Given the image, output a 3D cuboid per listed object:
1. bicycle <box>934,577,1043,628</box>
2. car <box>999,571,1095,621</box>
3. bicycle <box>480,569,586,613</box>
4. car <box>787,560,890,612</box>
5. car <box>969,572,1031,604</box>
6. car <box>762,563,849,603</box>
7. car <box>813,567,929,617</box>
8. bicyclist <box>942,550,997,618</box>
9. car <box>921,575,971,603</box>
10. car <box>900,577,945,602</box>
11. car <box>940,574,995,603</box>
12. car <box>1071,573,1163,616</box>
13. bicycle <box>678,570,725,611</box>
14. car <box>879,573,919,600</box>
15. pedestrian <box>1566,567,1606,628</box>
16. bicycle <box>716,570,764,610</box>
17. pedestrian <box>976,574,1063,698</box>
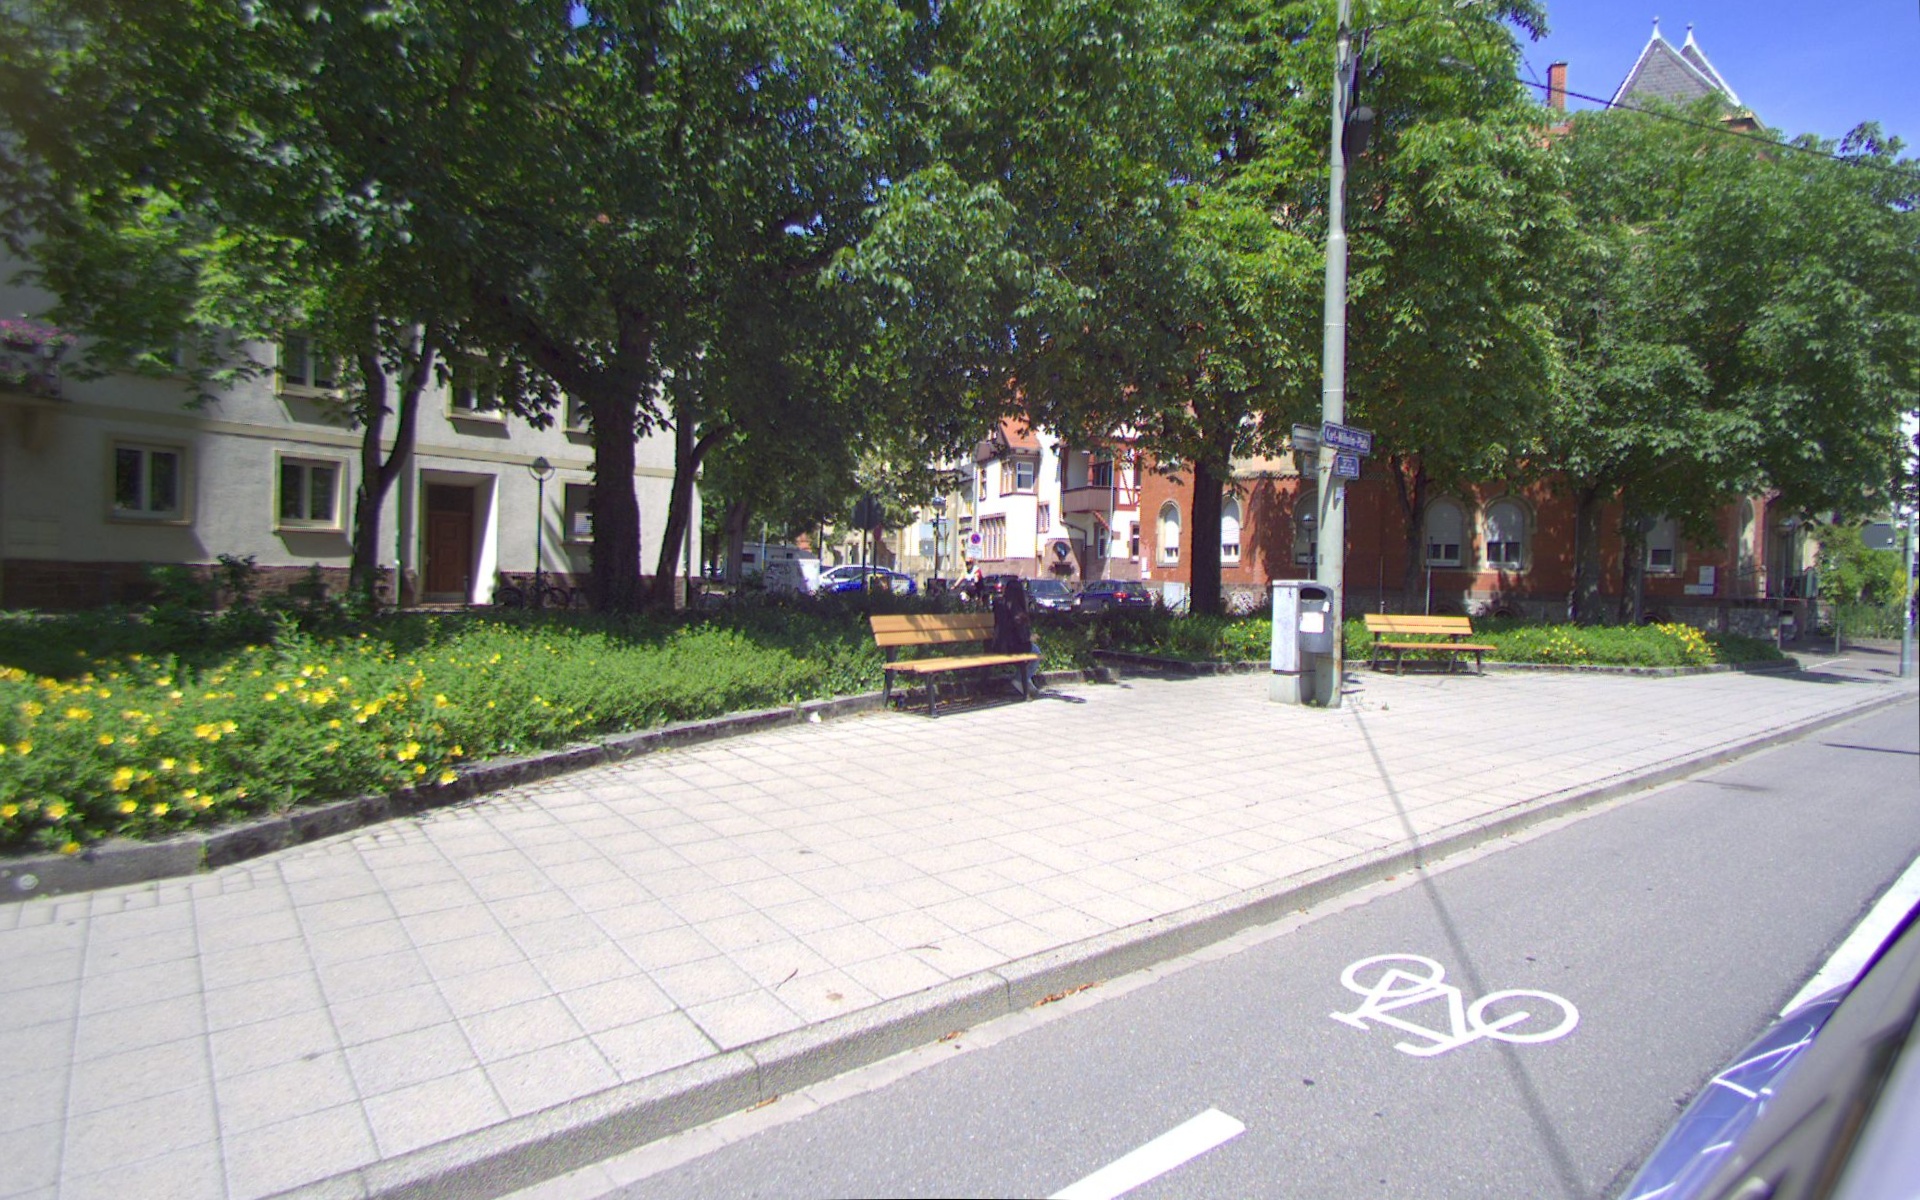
[{"bbox_3d":[0.814,0.045,26.978,0.950,1.279,3.695,0,0,37],"label":"bicycle"},{"bbox_3d":[2.950,-0.163,35.479,1.897,1.638,4.534,0,0,-15],"label":"car"},{"bbox_3d":[-10.255,-0.221,24.375,2.230,1.024,0.751,-1,0,-41],"label":"bicycle"},{"bbox_3d":[-5.374,-0.627,44.828,4.219,2.219,1.942,0,0,-18],"label":"car"},{"bbox_3d":[2.063,-0.618,54.075,1.897,1.638,4.318,0,0,-19],"label":"car"},{"bbox_3d":[-8.087,-0.880,52.938,4.219,2.029,1.942,0,0,-18],"label":"car"},{"bbox_3d":[-3.547,-0.321,40.016,4.219,1.903,1.942,0,0,-18],"label":"car"},{"bbox_3d":[0.249,-0.409,26.198,0.869,1.717,1.237,0,0,38],"label":"bicyclist"},{"bbox_3d":[-0.921,-0.688,63.252,1.897,1.638,4.318,0,0,-19],"label":"car"},{"bbox_3d":[-2.569,-0.724,67.949,1.897,1.638,4.318,0,0,-19],"label":"car"},{"bbox_3d":[0.377,-0.652,58.682,1.897,1.638,4.318,0,0,-19],"label":"car"},{"bbox_3d":[6.273,-0.232,41.026,1.897,1.638,4.318,0,0,-19],"label":"car"},{"bbox_3d":[-6.777,-0.259,26.475,0.736,1.024,2.273,0,0,-26],"label":"bicycle"},{"bbox_3d":[-4.506,-1.002,74.461,1.897,1.897,4.318,0,0,-19],"label":"car"},{"bbox_3d":[19.339,-0.095,31.278,0.826,1.846,0.671,2,1,12],"label":"pedestrian"},{"bbox_3d":[-5.870,-0.268,26.904,0.736,1.024,2.273,0,0,-26],"label":"bicycle"},{"bbox_3d":[0.597,0.335,10.074,0.562,1.156,0.718,3,2,33],"label":"pedestrian"}]
